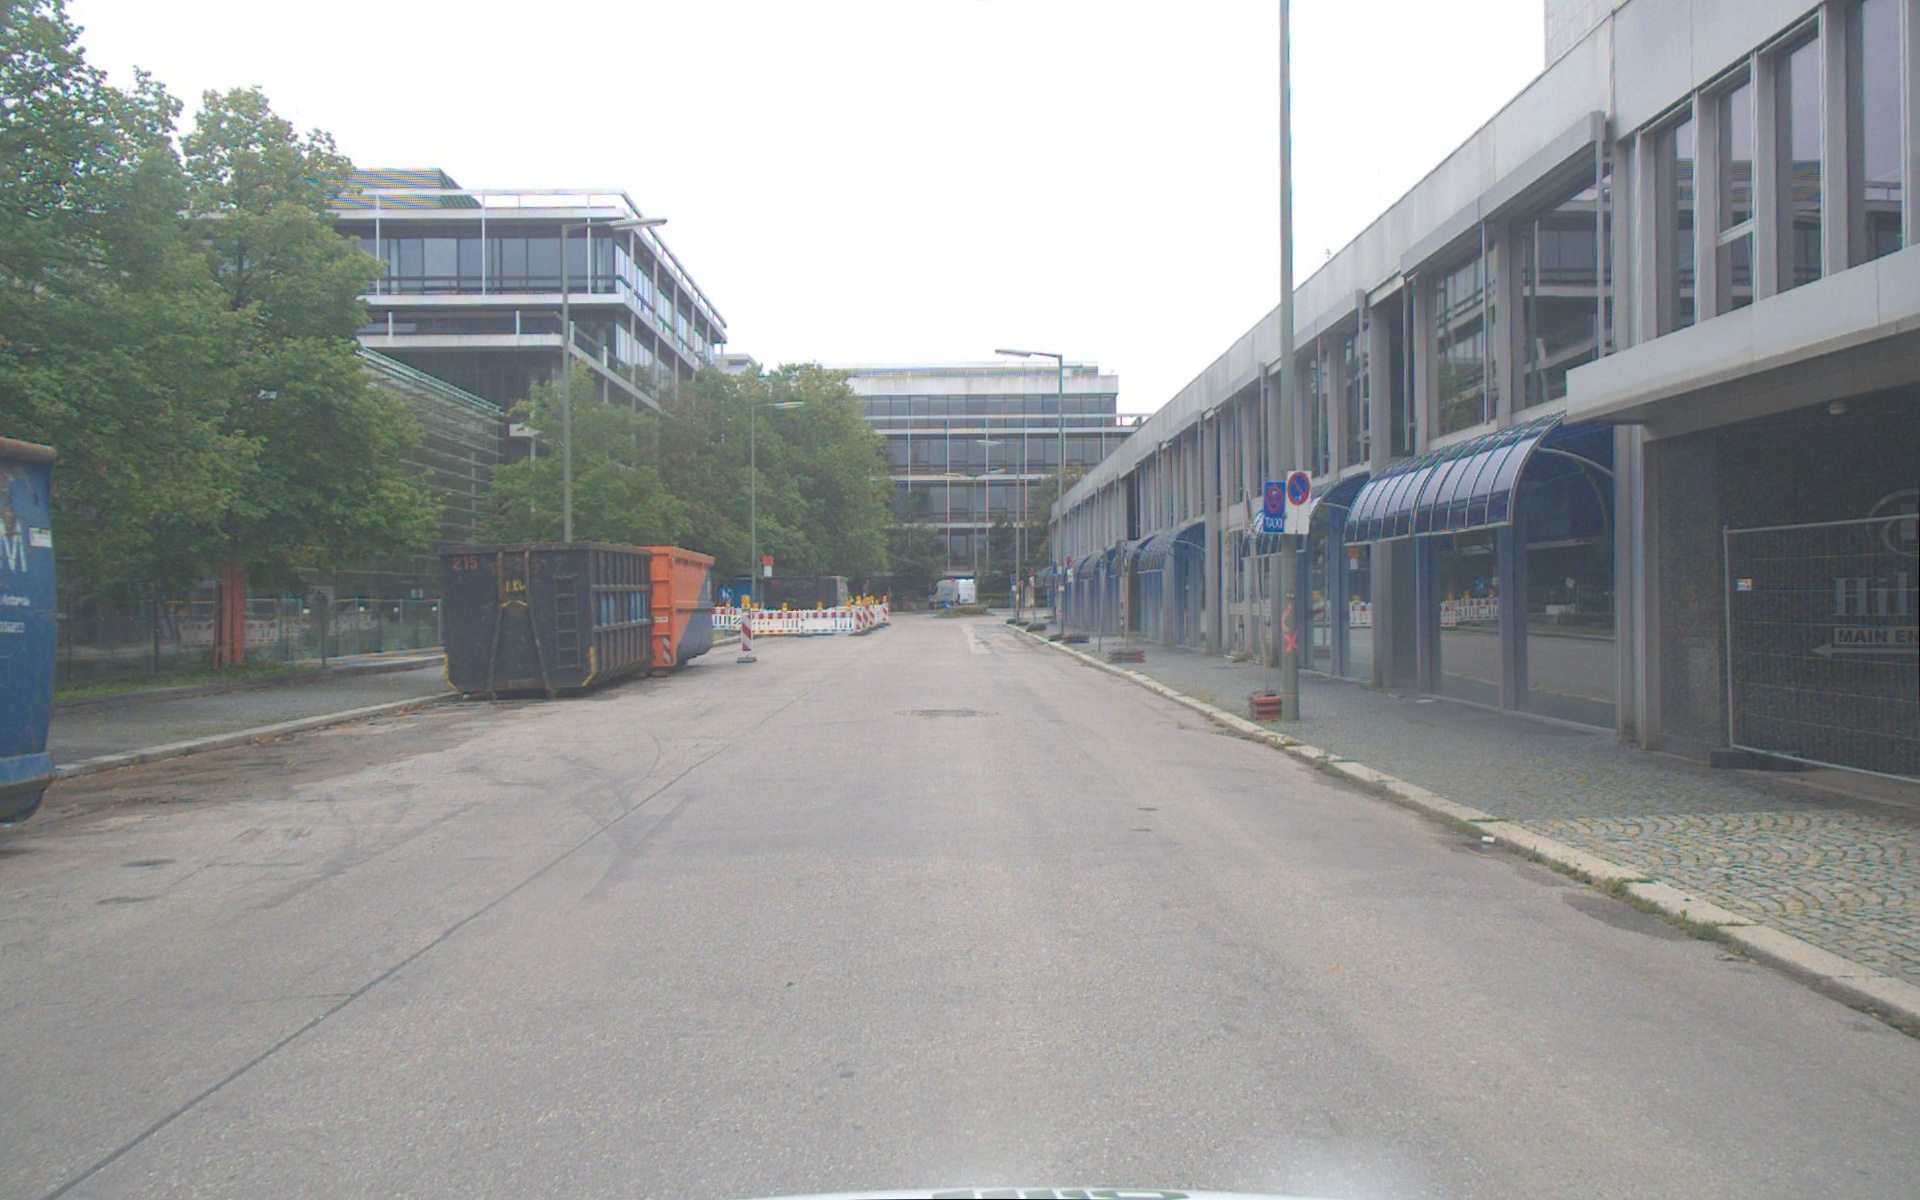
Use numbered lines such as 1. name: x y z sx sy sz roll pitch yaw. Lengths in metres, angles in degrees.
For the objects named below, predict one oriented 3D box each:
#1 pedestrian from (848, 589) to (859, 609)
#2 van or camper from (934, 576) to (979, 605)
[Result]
1. pedestrian: -9.413 -0.101 146.171 0.730 1.706 0.678 -1 0 -20
2. van or camper: -0.310 -0.829 147.569 2.060 2.535 5.025 -1 0 -26
